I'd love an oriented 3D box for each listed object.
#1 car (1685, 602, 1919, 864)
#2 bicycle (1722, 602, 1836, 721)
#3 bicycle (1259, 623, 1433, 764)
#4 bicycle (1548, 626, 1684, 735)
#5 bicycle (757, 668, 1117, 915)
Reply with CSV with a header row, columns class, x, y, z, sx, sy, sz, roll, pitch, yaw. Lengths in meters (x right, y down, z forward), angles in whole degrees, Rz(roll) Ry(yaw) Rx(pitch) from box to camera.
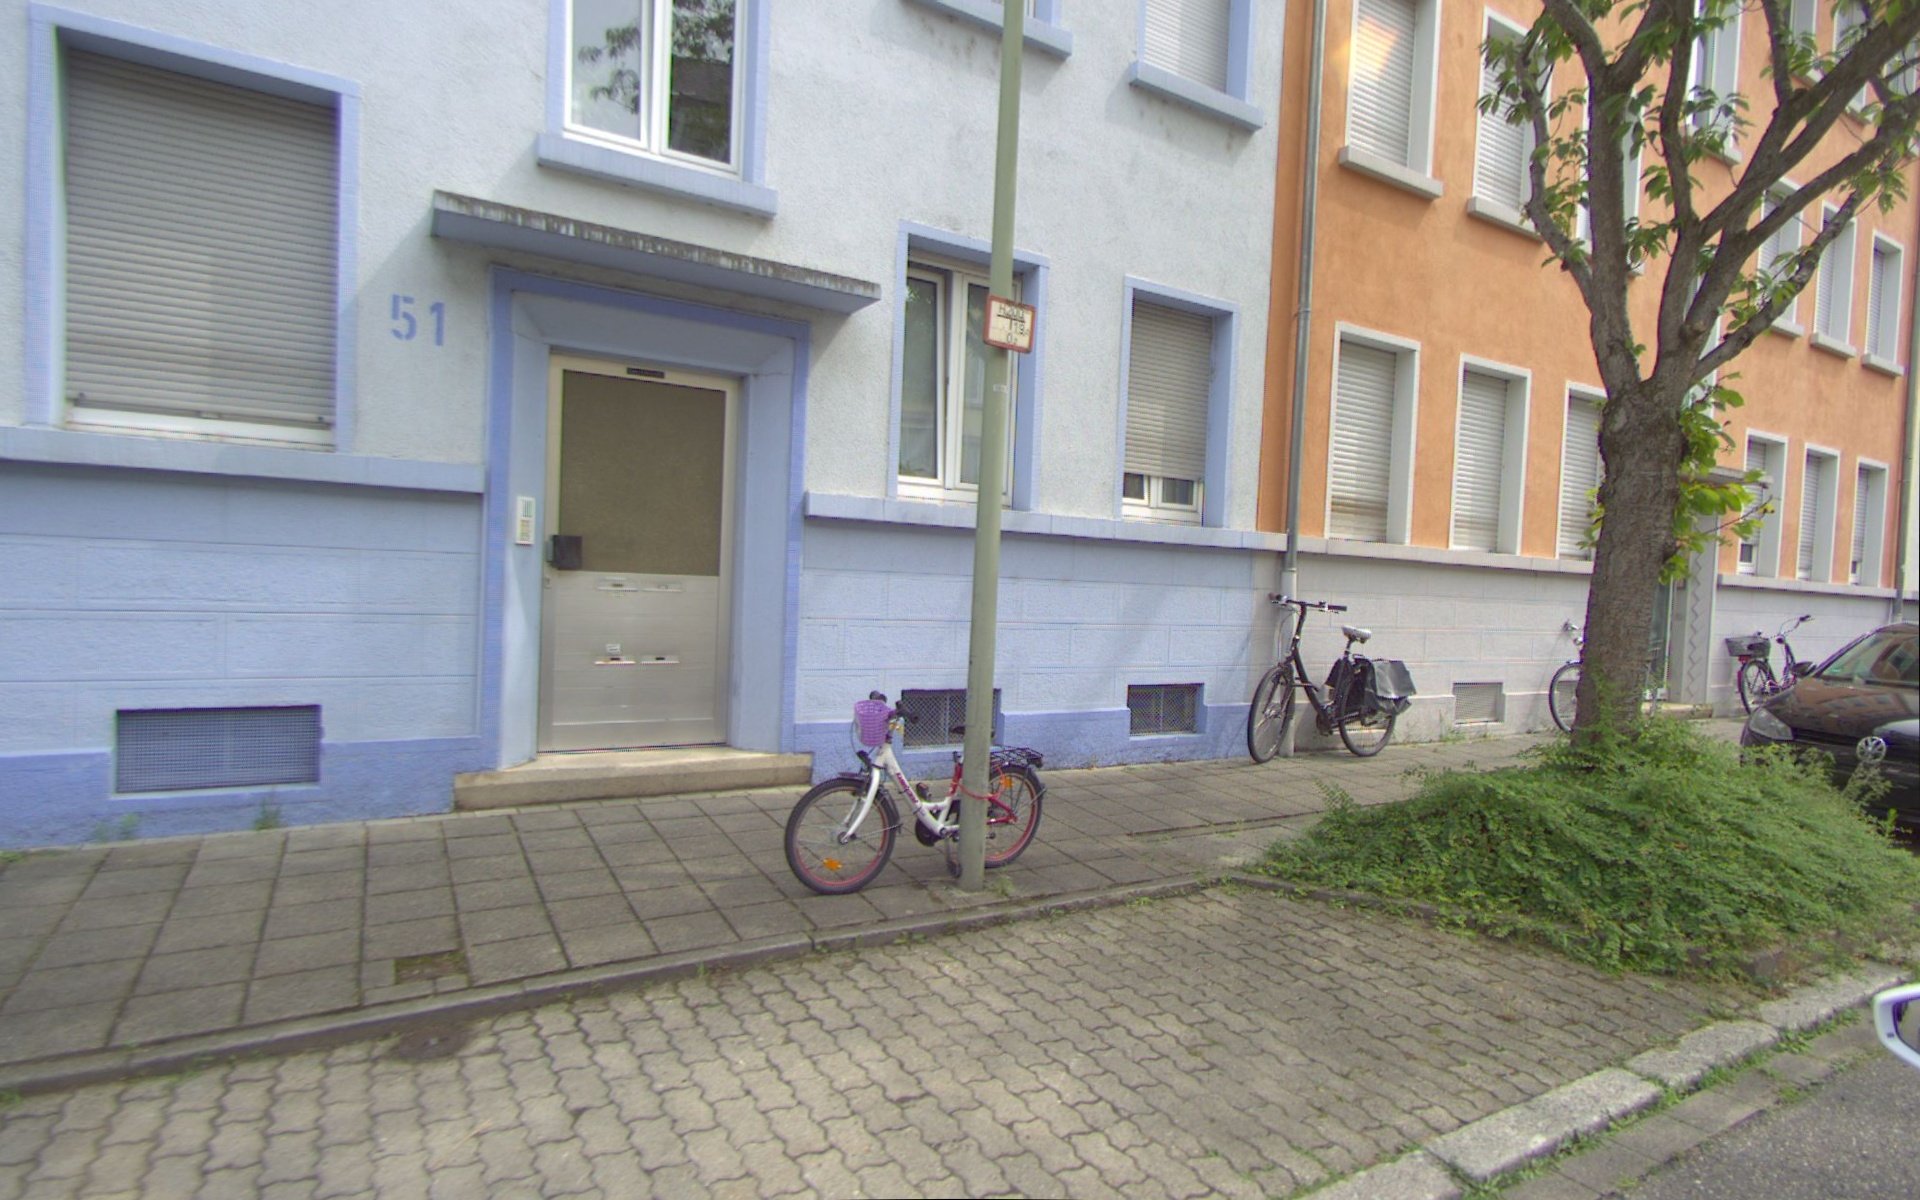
class,x,y,z,sx,sy,sz,roll,pitch,yaw
car,7.352,0.884,7.416,4.049,1.504,1.825,2,3,-33
bicycle,9.802,0.724,12.003,1.790,1.352,0.427,2,0,-30
bicycle,3.031,0.704,7.833,1.552,1.009,0.365,2,0,-31
bicycle,6.617,0.794,10.096,1.847,1.019,0.365,2,0,-31
bicycle,-0.067,0.769,4.385,1.521,0.884,0.411,2,4,-31
